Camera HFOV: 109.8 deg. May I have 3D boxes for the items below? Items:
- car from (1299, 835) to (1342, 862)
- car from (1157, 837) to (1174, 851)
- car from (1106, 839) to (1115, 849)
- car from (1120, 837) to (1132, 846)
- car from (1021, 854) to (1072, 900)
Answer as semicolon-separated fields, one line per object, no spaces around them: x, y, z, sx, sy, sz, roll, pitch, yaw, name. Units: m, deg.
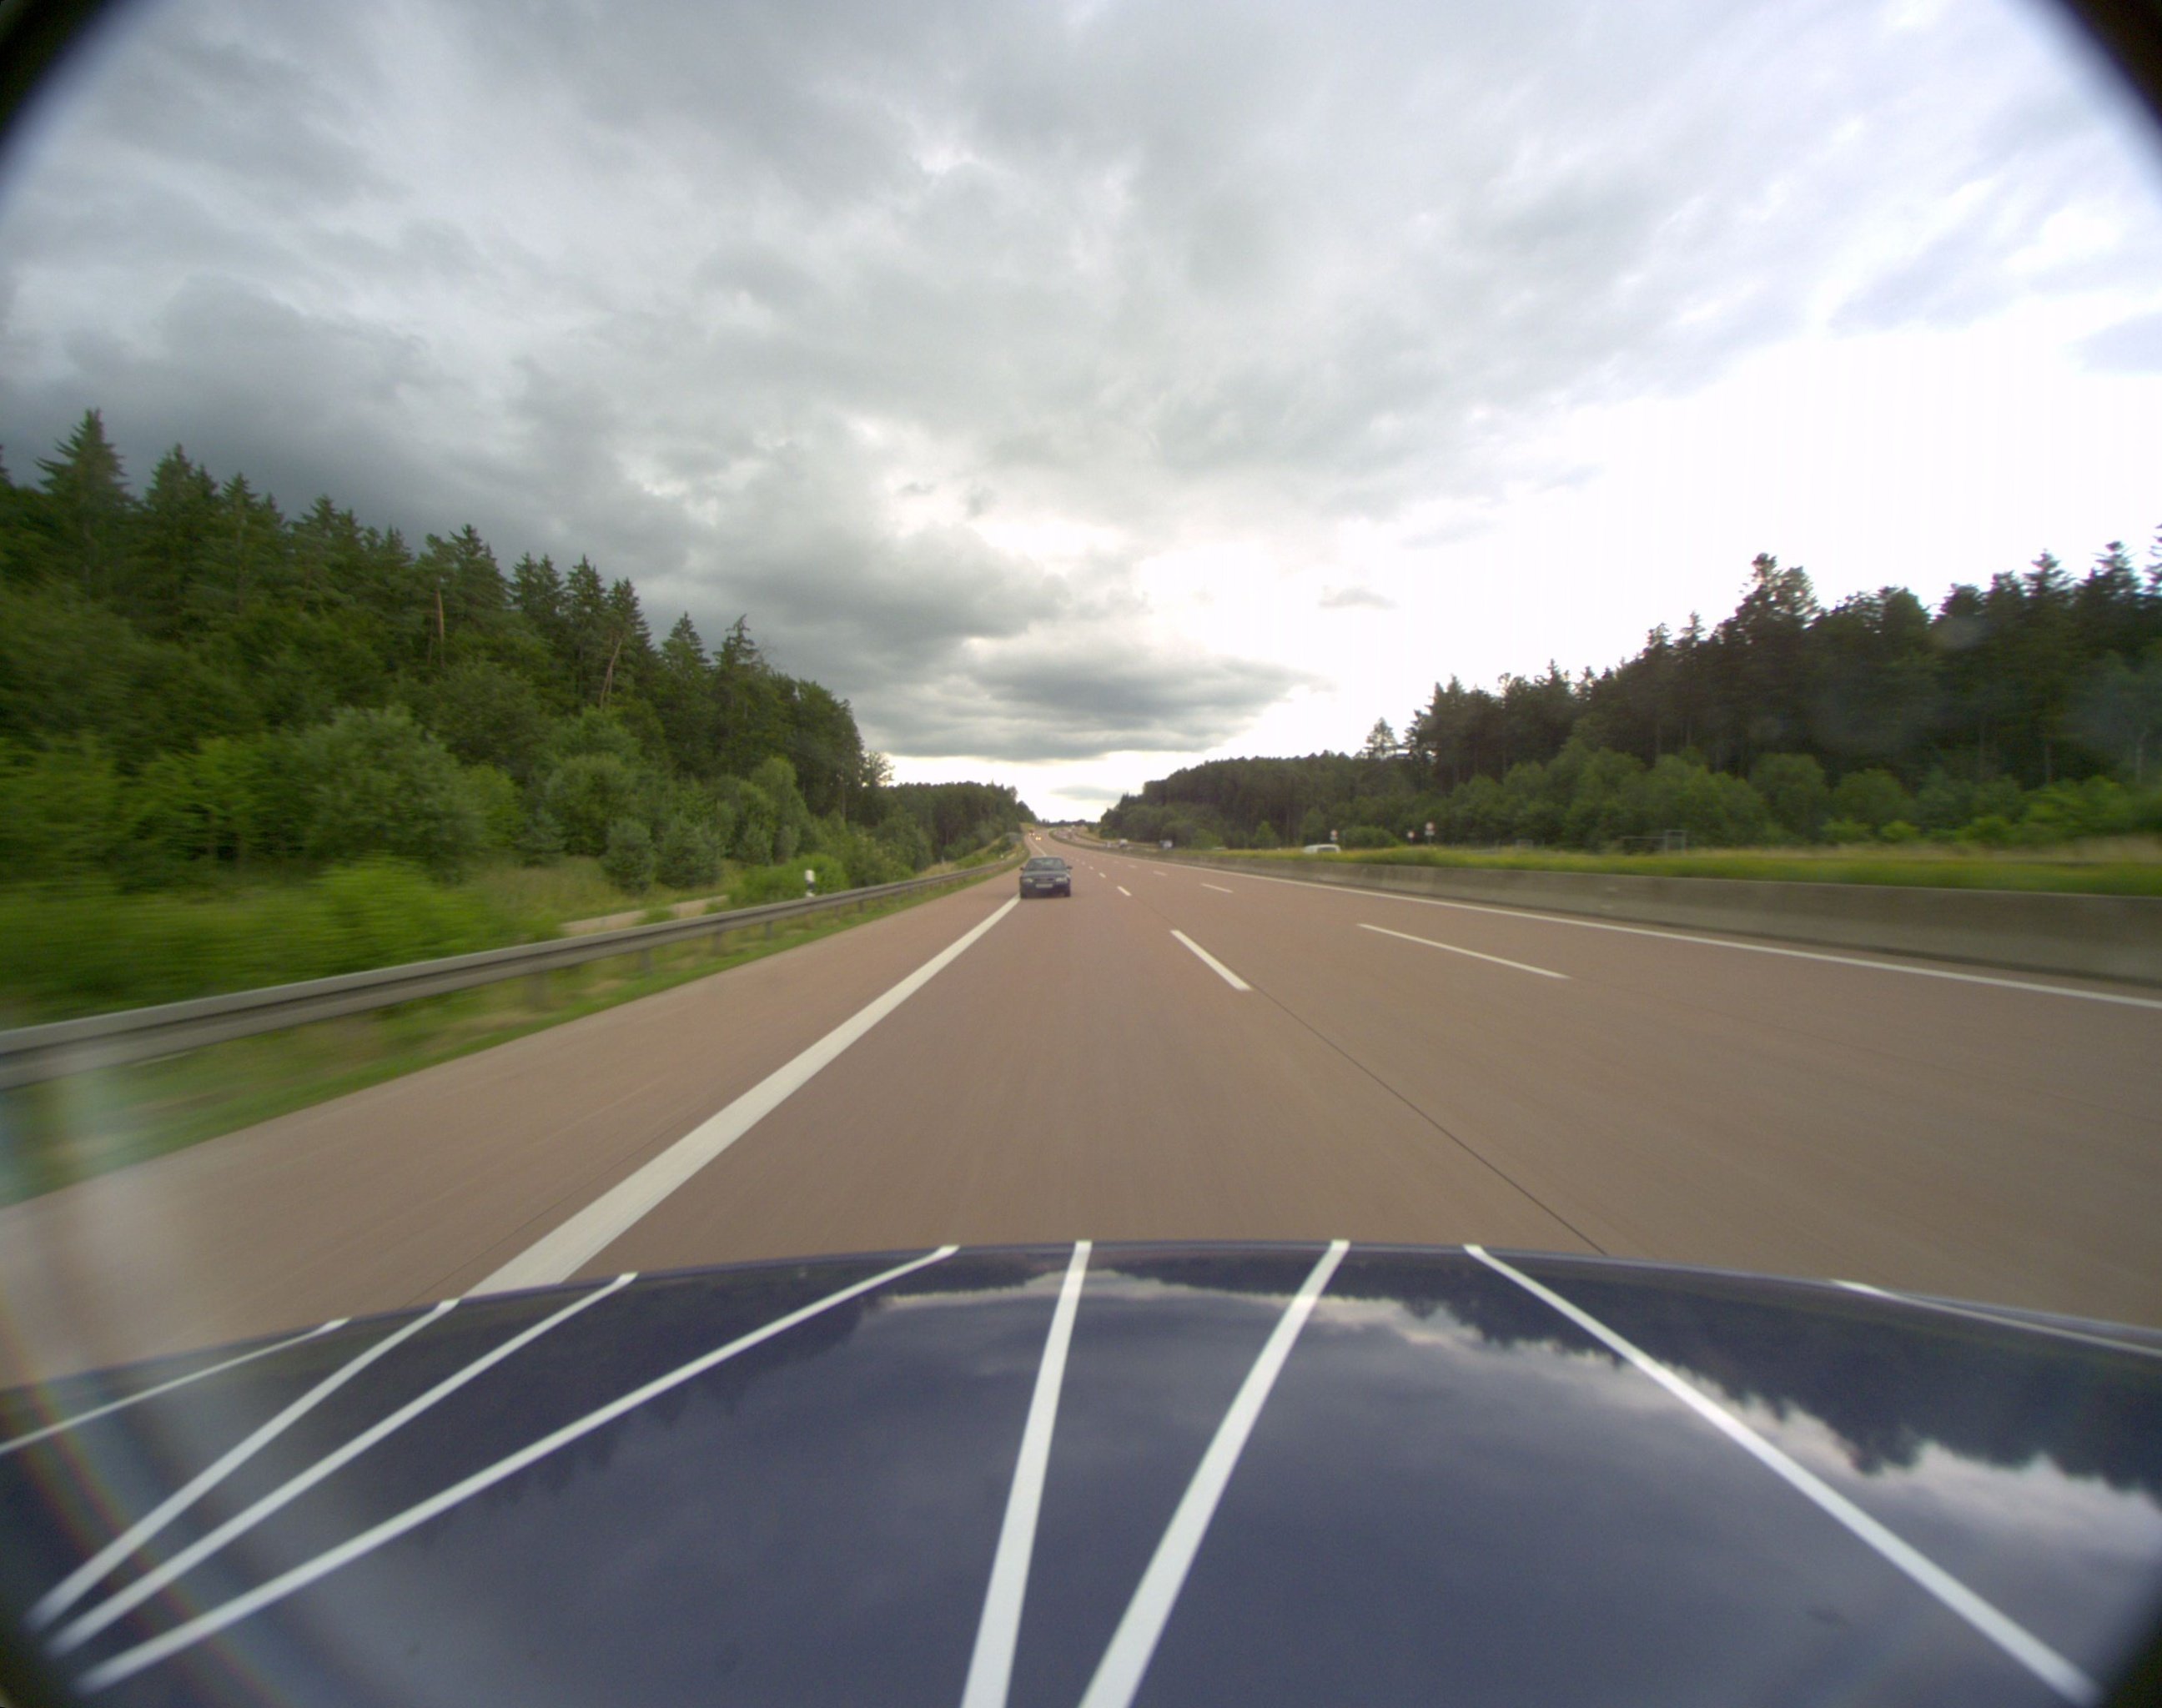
15.004;-0.383;47.838;1.571;1.558;3.411;-2;2;-1;car
15.285;-1.793;137.382;1.999;2.229;6.039;-2;1;-2;car
8.842;-3.028;227.421;2.039;2.595;6.351;-2;2;-3;car
13.423;-3.811;227.632;2.466;2.595;7.325;-2;2;-3;car
-1.225;0.765;27.256;1.676;1.395;4.231;-1;1;-3;car
